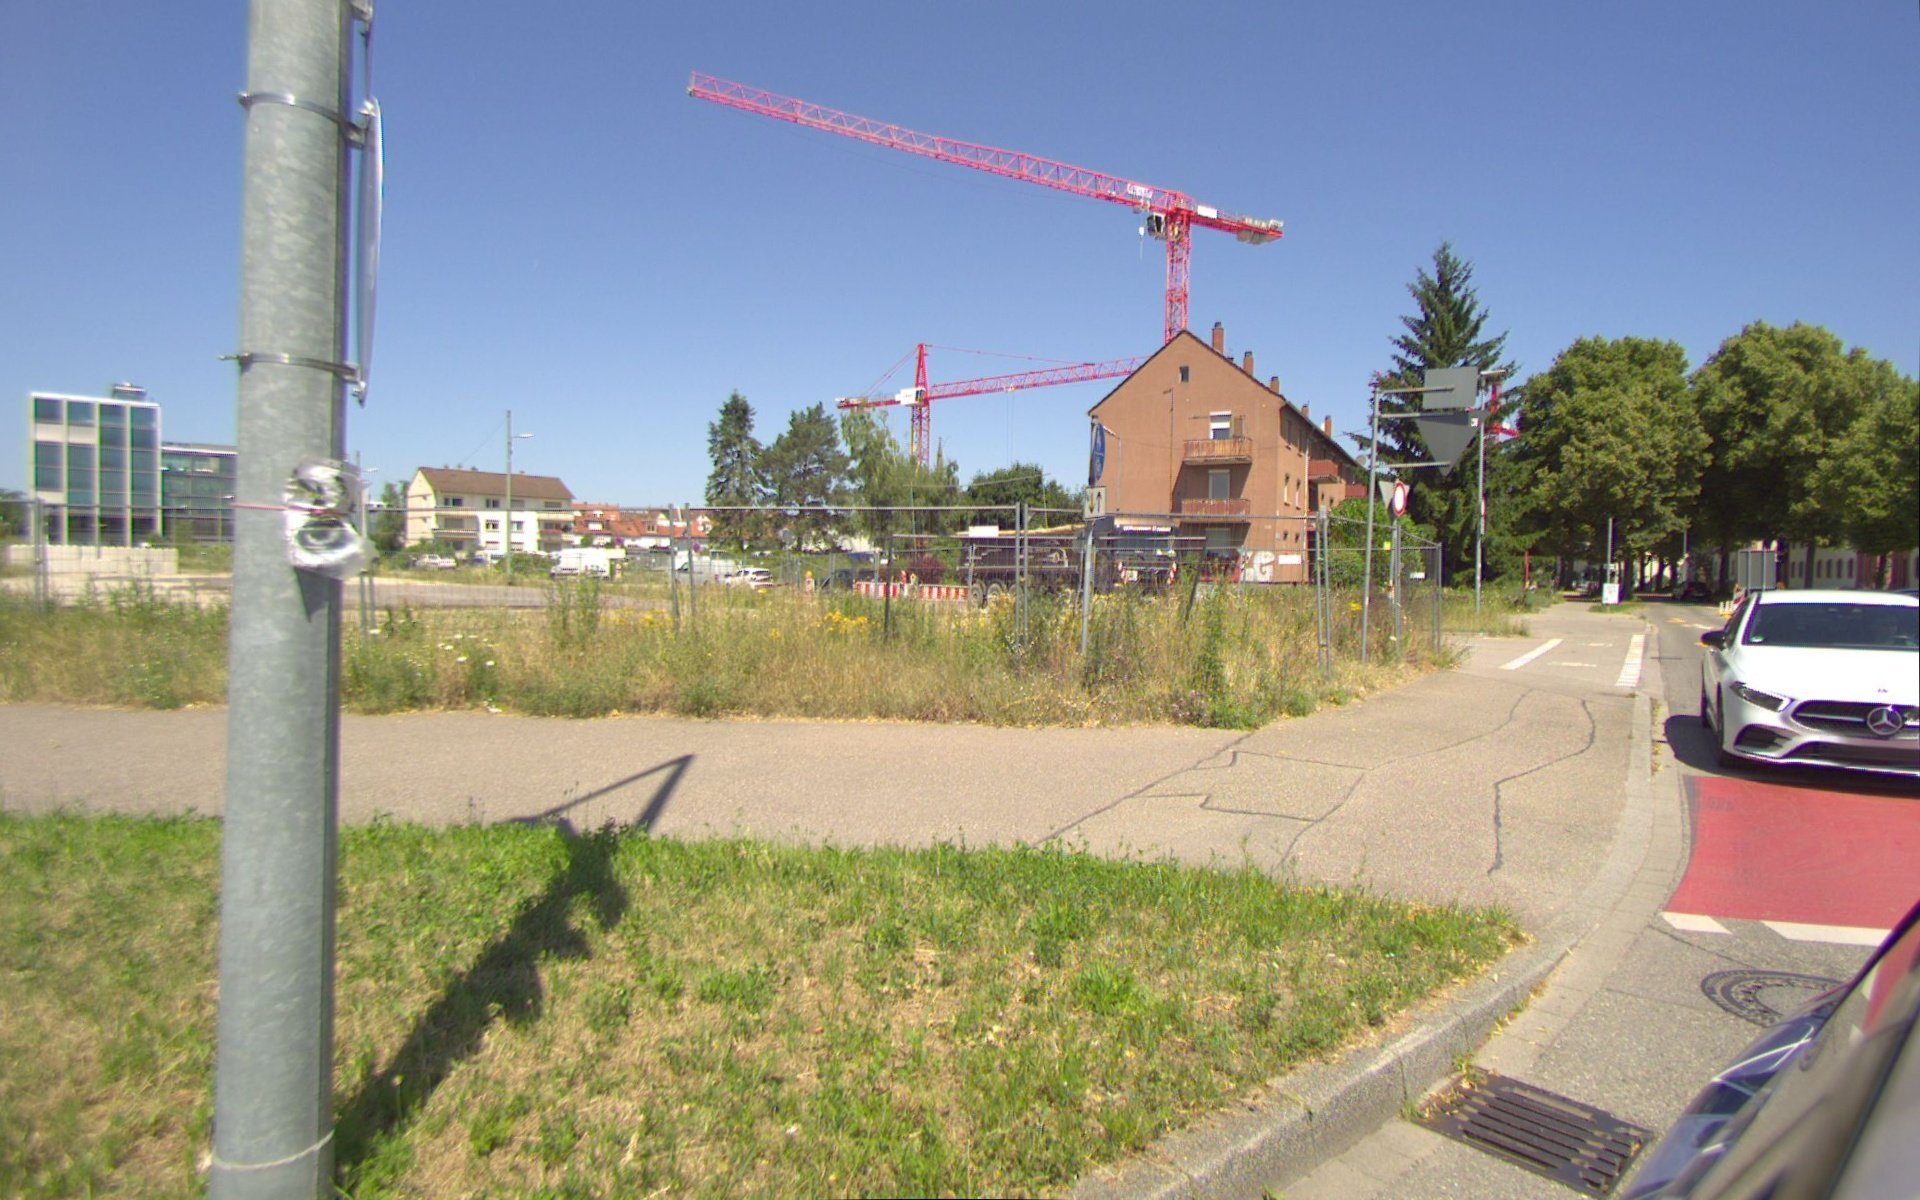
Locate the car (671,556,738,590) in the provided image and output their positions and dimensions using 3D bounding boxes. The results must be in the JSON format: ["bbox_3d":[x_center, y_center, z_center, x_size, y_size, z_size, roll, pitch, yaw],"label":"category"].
[{"bbox_3d":[-16.195,-1.727,64.000,4.662,2.038,1.759,3,2,40],"label":"car"}]

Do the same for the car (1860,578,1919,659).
[{"bbox_3d":[18.362,0.369,17.603,1.772,1.469,4.608,1,1,8],"label":"car"}]

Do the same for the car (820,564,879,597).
[{"bbox_3d":[-5.863,-1.039,53.293,1.347,1.633,3.413,0,2,-42],"label":"car"}]

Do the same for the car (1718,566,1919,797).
[{"bbox_3d":[7.621,0.525,8.587,1.771,1.564,3.912,2,2,36],"label":"car"}]

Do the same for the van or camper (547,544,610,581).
[{"bbox_3d":[-29.090,-2.878,76.978,1.898,2.634,6.986,0,2,-44],"label":"van or camper"}]

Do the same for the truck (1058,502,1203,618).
[{"bbox_3d":[5.603,-1.318,34.203,3.098,3.576,4.976,1,2,-13],"label":"truck"}]

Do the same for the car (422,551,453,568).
[{"bbox_3d":[-51.343,-3.998,99.501,3.611,1.605,1.654,1,2,45],"label":"car"}]

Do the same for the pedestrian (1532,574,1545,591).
[{"bbox_3d":[56.050,-1.702,98.110,1.018,1.536,0.673,2,2,35],"label":"pedestrian"}]

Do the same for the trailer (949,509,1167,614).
[{"bbox_3d":[3.492,-1.476,38.954,3.106,3.576,8.991,0,2,-36],"label":"trailer"}]

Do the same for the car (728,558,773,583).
[{"bbox_3d":[-12.459,-1.762,60.177,1.395,1.422,2.785,-3,4,-42],"label":"car"}]
